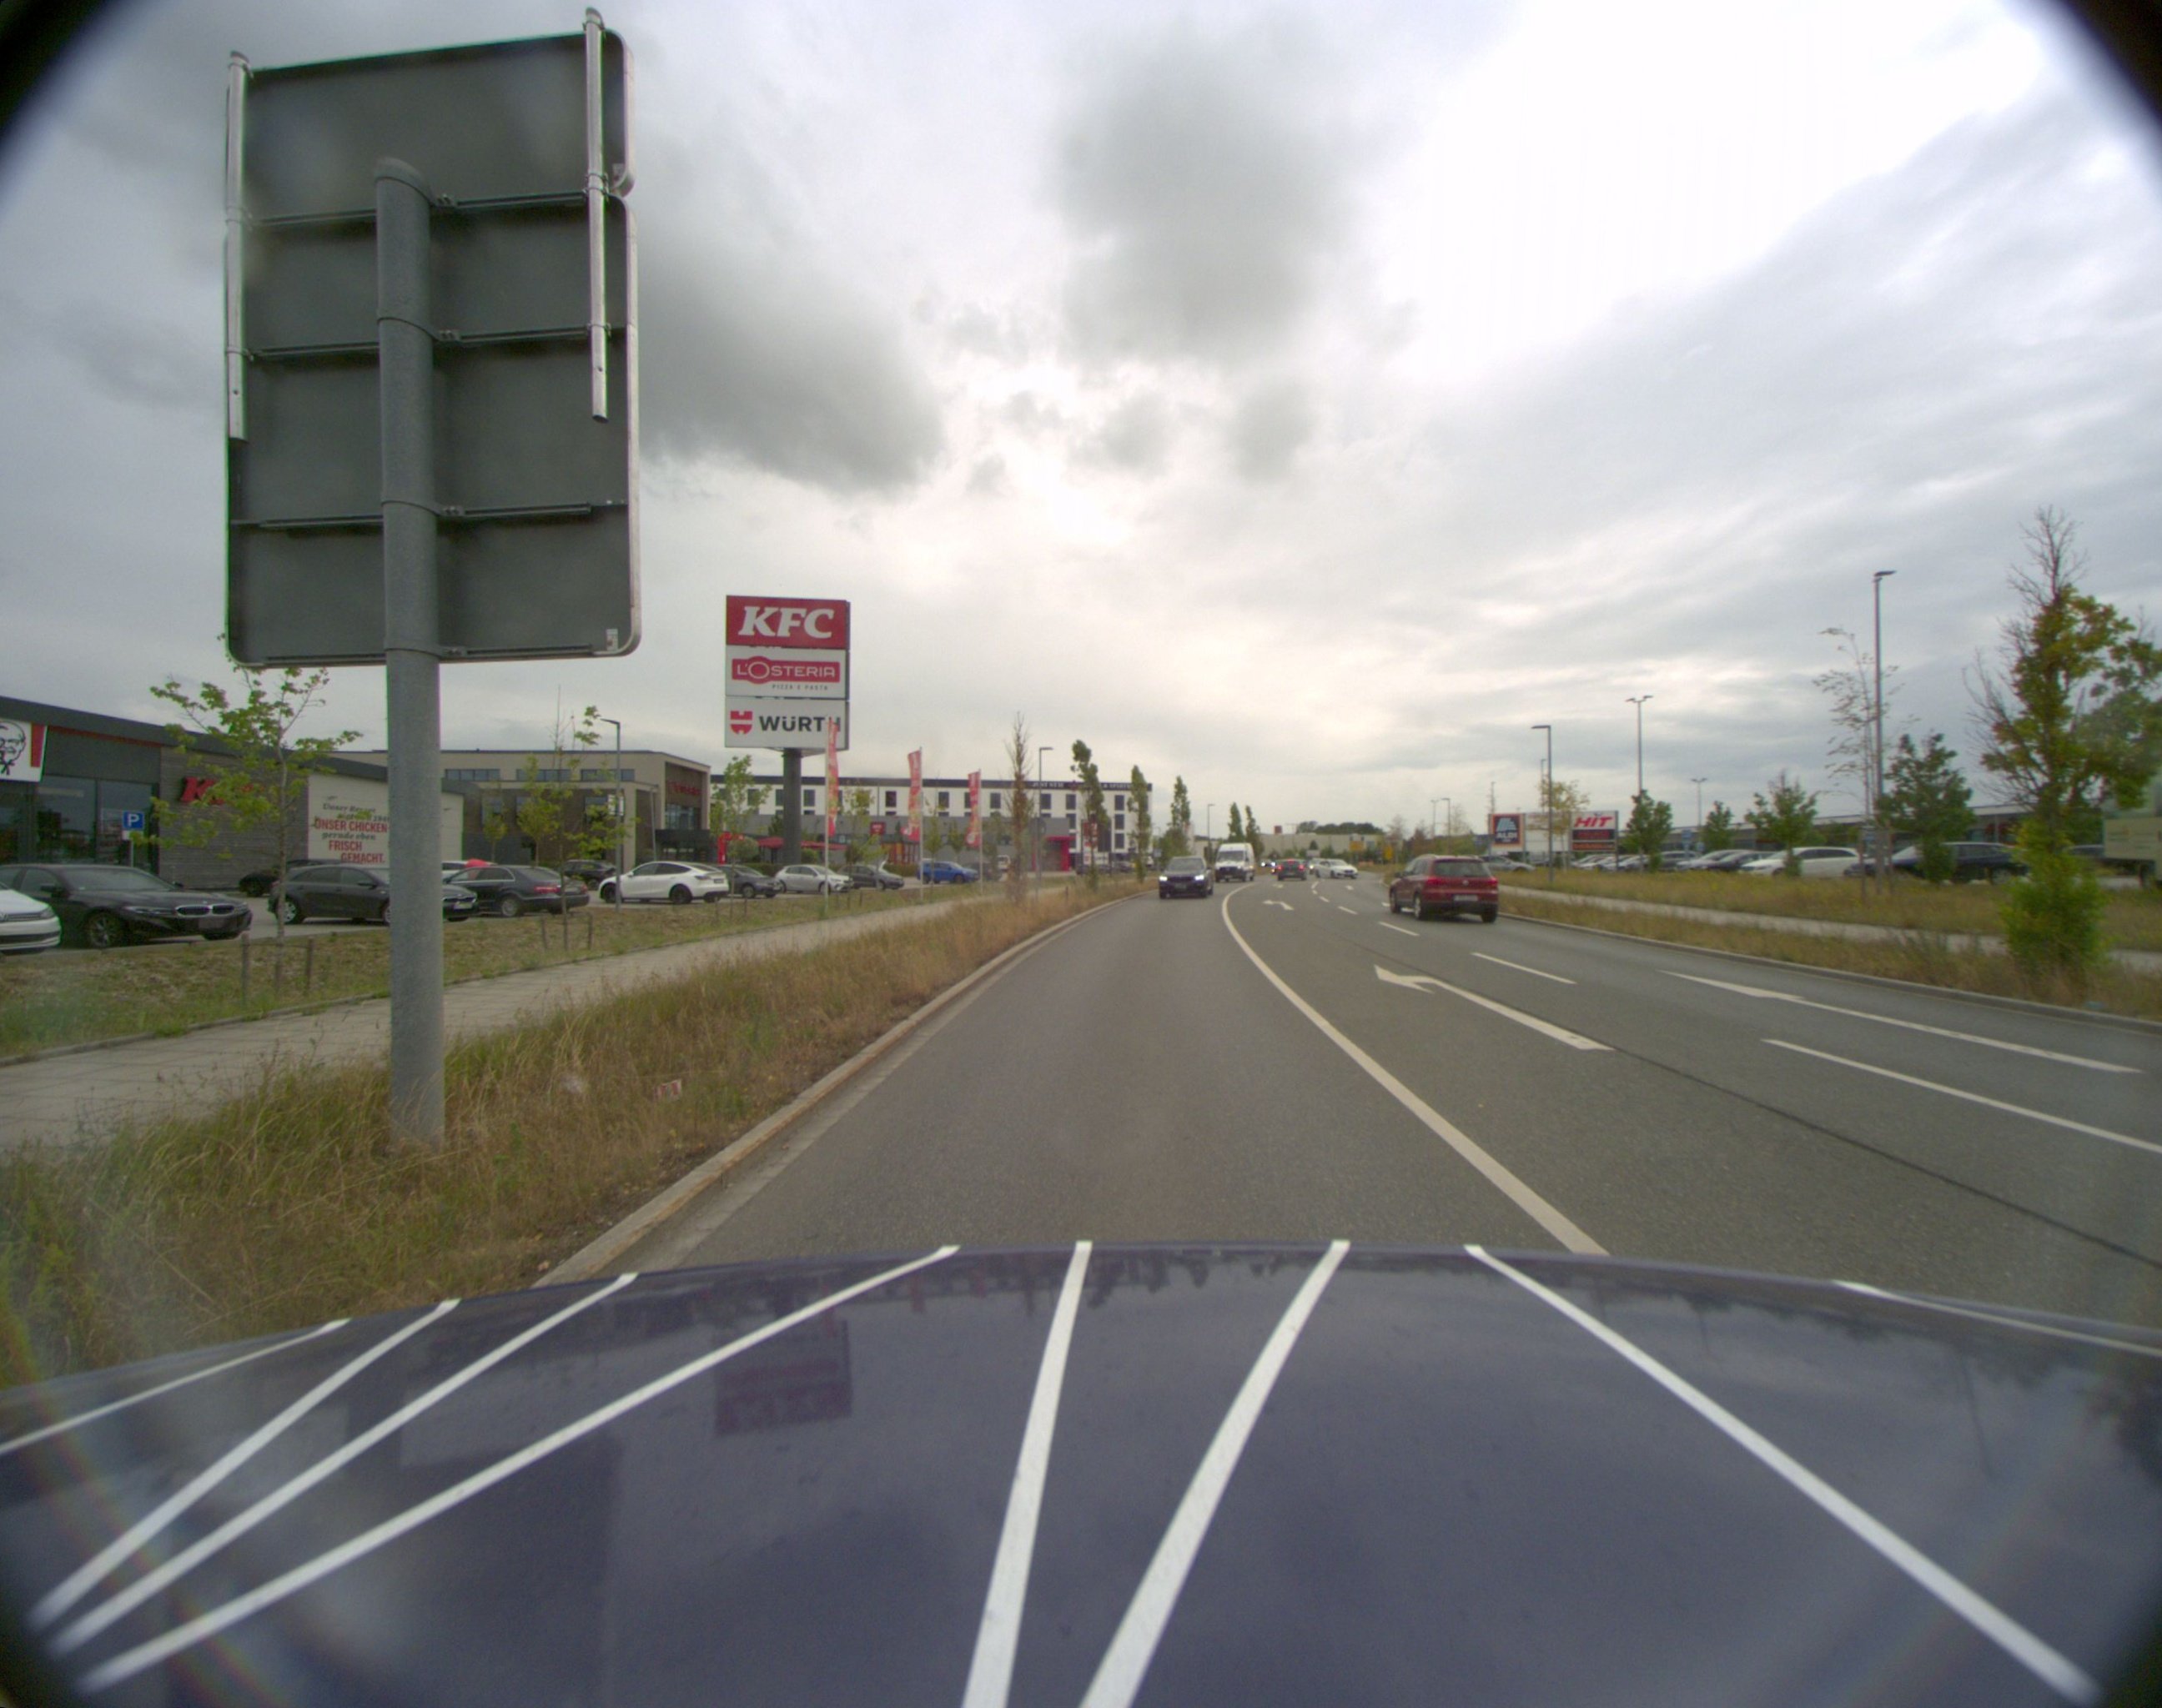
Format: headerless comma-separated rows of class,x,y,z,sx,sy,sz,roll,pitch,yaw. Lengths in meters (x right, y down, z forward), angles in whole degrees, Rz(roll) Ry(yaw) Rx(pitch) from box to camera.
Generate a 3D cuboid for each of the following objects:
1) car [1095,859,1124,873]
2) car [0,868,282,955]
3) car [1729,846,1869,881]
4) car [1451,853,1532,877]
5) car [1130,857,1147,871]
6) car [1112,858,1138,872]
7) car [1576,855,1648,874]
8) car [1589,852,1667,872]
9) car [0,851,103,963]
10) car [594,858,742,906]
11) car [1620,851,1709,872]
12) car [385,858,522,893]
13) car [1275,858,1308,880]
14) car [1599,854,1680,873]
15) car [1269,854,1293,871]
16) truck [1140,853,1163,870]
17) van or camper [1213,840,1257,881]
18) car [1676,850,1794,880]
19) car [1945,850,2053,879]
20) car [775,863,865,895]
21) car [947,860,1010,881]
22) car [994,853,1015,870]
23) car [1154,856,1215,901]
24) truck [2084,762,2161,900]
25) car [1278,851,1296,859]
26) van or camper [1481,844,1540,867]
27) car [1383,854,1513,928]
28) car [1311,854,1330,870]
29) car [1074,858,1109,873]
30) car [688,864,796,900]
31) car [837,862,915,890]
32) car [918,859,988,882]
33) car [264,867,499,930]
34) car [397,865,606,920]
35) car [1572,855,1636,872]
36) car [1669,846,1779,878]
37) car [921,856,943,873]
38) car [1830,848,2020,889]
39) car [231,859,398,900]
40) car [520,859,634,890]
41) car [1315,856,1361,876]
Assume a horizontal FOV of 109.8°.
car,3.078,1.215,80.450,1.866,1.428,4.887,0,-1,17
car,-17.761,0.977,13.766,4.478,1.428,2.074,0,0,2
car,32.837,0.454,34.891,4.254,1.550,1.991,0,0,11
car,27.095,0.718,50.209,4.600,1.552,2.004,-1,-1,29
car,6.980,1.201,92.428,1.766,1.676,4.415,0,-1,9
car,5.015,1.273,86.452,1.996,1.488,4.613,0,1,15
car,42.589,0.832,61.028,4.323,1.448,2.014,0,0,19
car,41.575,0.618,57.845,4.369,1.496,2.243,0,-1,21
car,-17.914,0.774,11.246,4.358,1.630,1.938,0,0,0
car,-15.479,1.014,28.578,4.569,1.635,2.090,1,0,10
car,39.257,0.499,51.289,4.362,1.383,2.169,0,-1,22
car,-28.746,0.979,34.905,4.572,1.510,2.081,1,0,1
car,14.295,0.962,51.474,1.831,1.411,4.252,-1,0,19
car,40.418,0.668,55.123,4.318,1.332,2.030,0,-1,17
car,19.452,0.859,74.116,1.755,1.575,4.003,-1,0,8
truck,10.139,1.041,109.127,2.230,2.312,8.223,0,-1,13
van or camper,10.588,0.464,51.858,2.261,2.601,5.705,0,-1,19
car,34.290,0.567,39.991,4.246,1.504,2.049,-1,0,21
car,56.359,0.640,46.767,1.910,1.677,4.000,0,0,2
car,-13.091,1.233,38.212,3.866,1.473,1.905,1,0,16
car,-7.302,1.155,54.406,3.990,1.485,1.985,0,0,22
car,-9.127,0.911,90.147,2.000,1.975,4.632,0,-1,-11
car,4.273,0.956,30.891,1.996,1.654,4.005,-1,-1,14
truck,29.044,-0.616,18.951,2.851,3.520,8.447,-1,0,39
car,50.933,0.216,188.073,4.003,2.002,1.640,-1,0,-18
van or camper,52.166,0.148,92.387,5.861,2.783,2.245,0,1,11
car,9.453,0.884,19.985,1.802,1.659,4.330,2,0,8
car,22.858,0.770,72.507,1.704,1.429,4.038,0,-1,18
car,1.096,1.150,75.146,1.964,1.451,4.839,0,-1,19
car,-14.986,1.195,33.642,3.992,1.476,1.942,0,1,14
car,-11.532,1.207,42.775,3.762,1.485,1.892,0,0,17
car,-8.787,1.139,52.190,4.266,1.511,1.968,0,0,20
car,-17.066,1.058,18.677,4.093,1.429,1.944,0,0,4
car,-16.344,1.061,21.571,4.526,1.460,2.033,0,0,5
car,43.539,0.778,63.326,4.088,1.383,2.003,0,-1,22
car,35.703,0.440,42.328,4.247,1.713,2.031,-1,0,16
car,-15.217,1.081,77.616,2.000,1.687,4.789,0,-1,-8
car,30.532,0.523,27.647,4.237,1.426,2.000,0,0,15
car,-29.703,0.960,29.554,4.375,1.510,2.047,1,0,-1
car,-26.252,1.051,39.697,4.573,1.510,1.977,1,0,-1
car,19.612,0.873,58.216,1.885,1.460,4.191,0,0,-3
